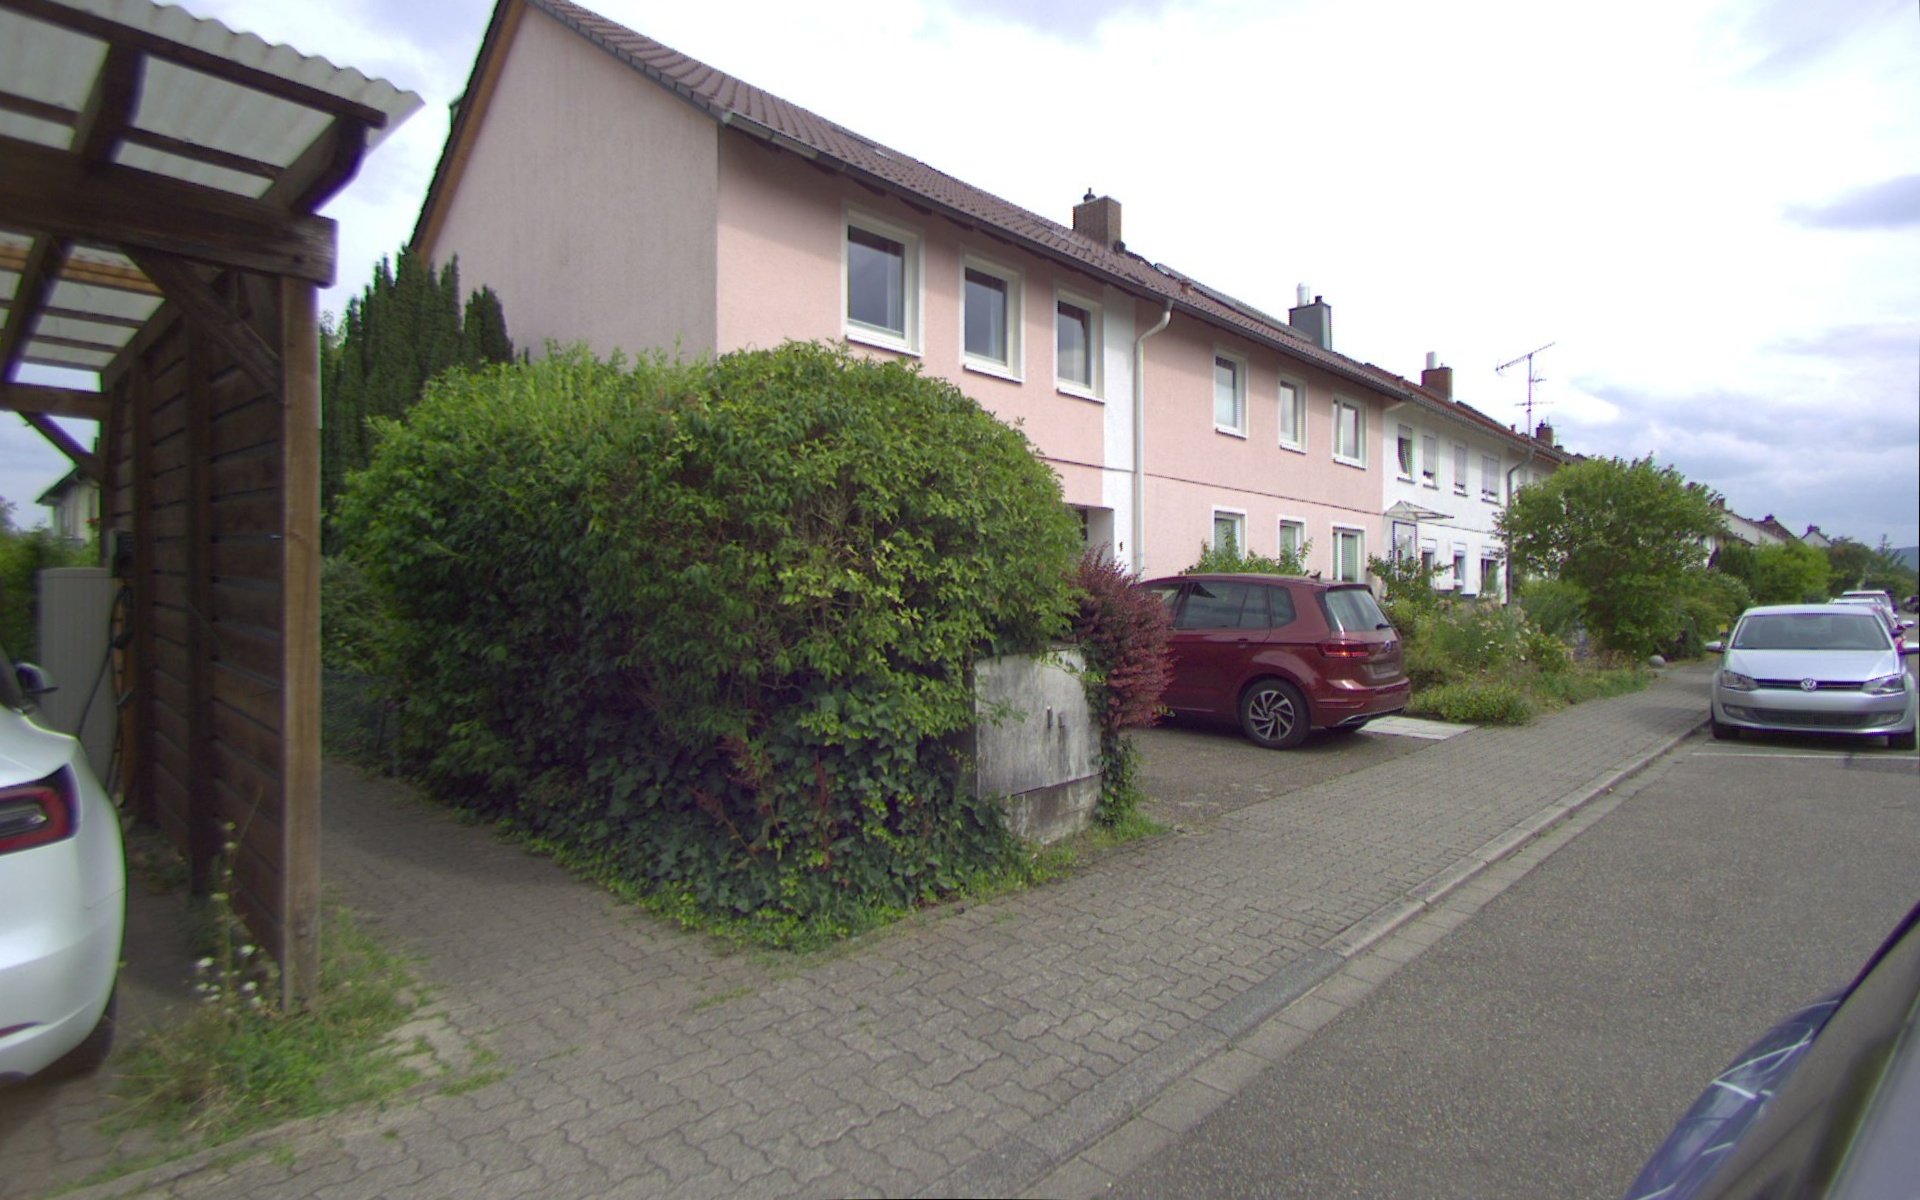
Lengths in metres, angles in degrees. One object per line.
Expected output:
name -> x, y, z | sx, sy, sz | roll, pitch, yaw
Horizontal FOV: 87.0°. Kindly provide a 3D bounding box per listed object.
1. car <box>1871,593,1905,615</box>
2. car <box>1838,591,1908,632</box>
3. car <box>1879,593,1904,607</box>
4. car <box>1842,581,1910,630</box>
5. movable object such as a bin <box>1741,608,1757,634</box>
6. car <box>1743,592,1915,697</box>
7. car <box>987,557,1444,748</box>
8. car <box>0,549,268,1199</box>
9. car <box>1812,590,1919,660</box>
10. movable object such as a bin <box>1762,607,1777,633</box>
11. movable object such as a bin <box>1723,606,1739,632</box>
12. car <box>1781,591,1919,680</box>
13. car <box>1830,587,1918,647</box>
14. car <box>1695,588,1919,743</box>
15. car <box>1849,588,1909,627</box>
car -> 65.156, 0.266, 71.072 | 1.748, 1.486, 4.576 | 0, 0, 43
car -> 35.425, 0.399, 39.253 | 1.901, 1.478, 4.064 | 1, 1, 44
car -> 108.715, -0.005, 118.135 | 1.991, 1.619, 3.942 | 0, 0, 40
car -> 38.803, 0.213, 42.977 | 2.019, 1.972, 4.676 | 1, 1, 41
movable object such as a bin -> 28.357, 0.744, 36.391 | 0.430, 0.933, 0.458 | -1, -1, 39
car -> 13.365, 0.578, 15.471 | 1.773, 1.373, 4.198 | 1, 1, 44
car -> 2.479, 0.386, 10.565 | 4.271, 1.579, 1.904 | 2, 1, 45
car -> -4.059, 0.578, 3.322 | 4.448, 1.451, 1.996 | 1, 1, 42
car -> 20.747, 0.512, 23.185 | 1.836, 1.430, 4.569 | 1, 1, 40
movable object such as a bin -> 28.823, 0.704, 36.016 | 0.406, 0.933, 0.415 | 0, 0, 39
movable object such as a bin -> 27.973, 0.694, 36.719 | 0.430, 0.933, 0.458 | -1, -1, 39
car -> 16.696, 0.587, 18.867 | 1.773, 1.454, 4.750 | -2, -1, 43
car -> 25.783, 0.461, 28.599 | 1.712, 1.563, 3.913 | -2, -1, 42
car -> 9.706, 0.602, 11.481 | 1.863, 1.435, 4.190 | 0, 0, 41
car -> 42.205, 0.311, 46.531 | 1.808, 1.671, 4.347 | 1, 1, 40
